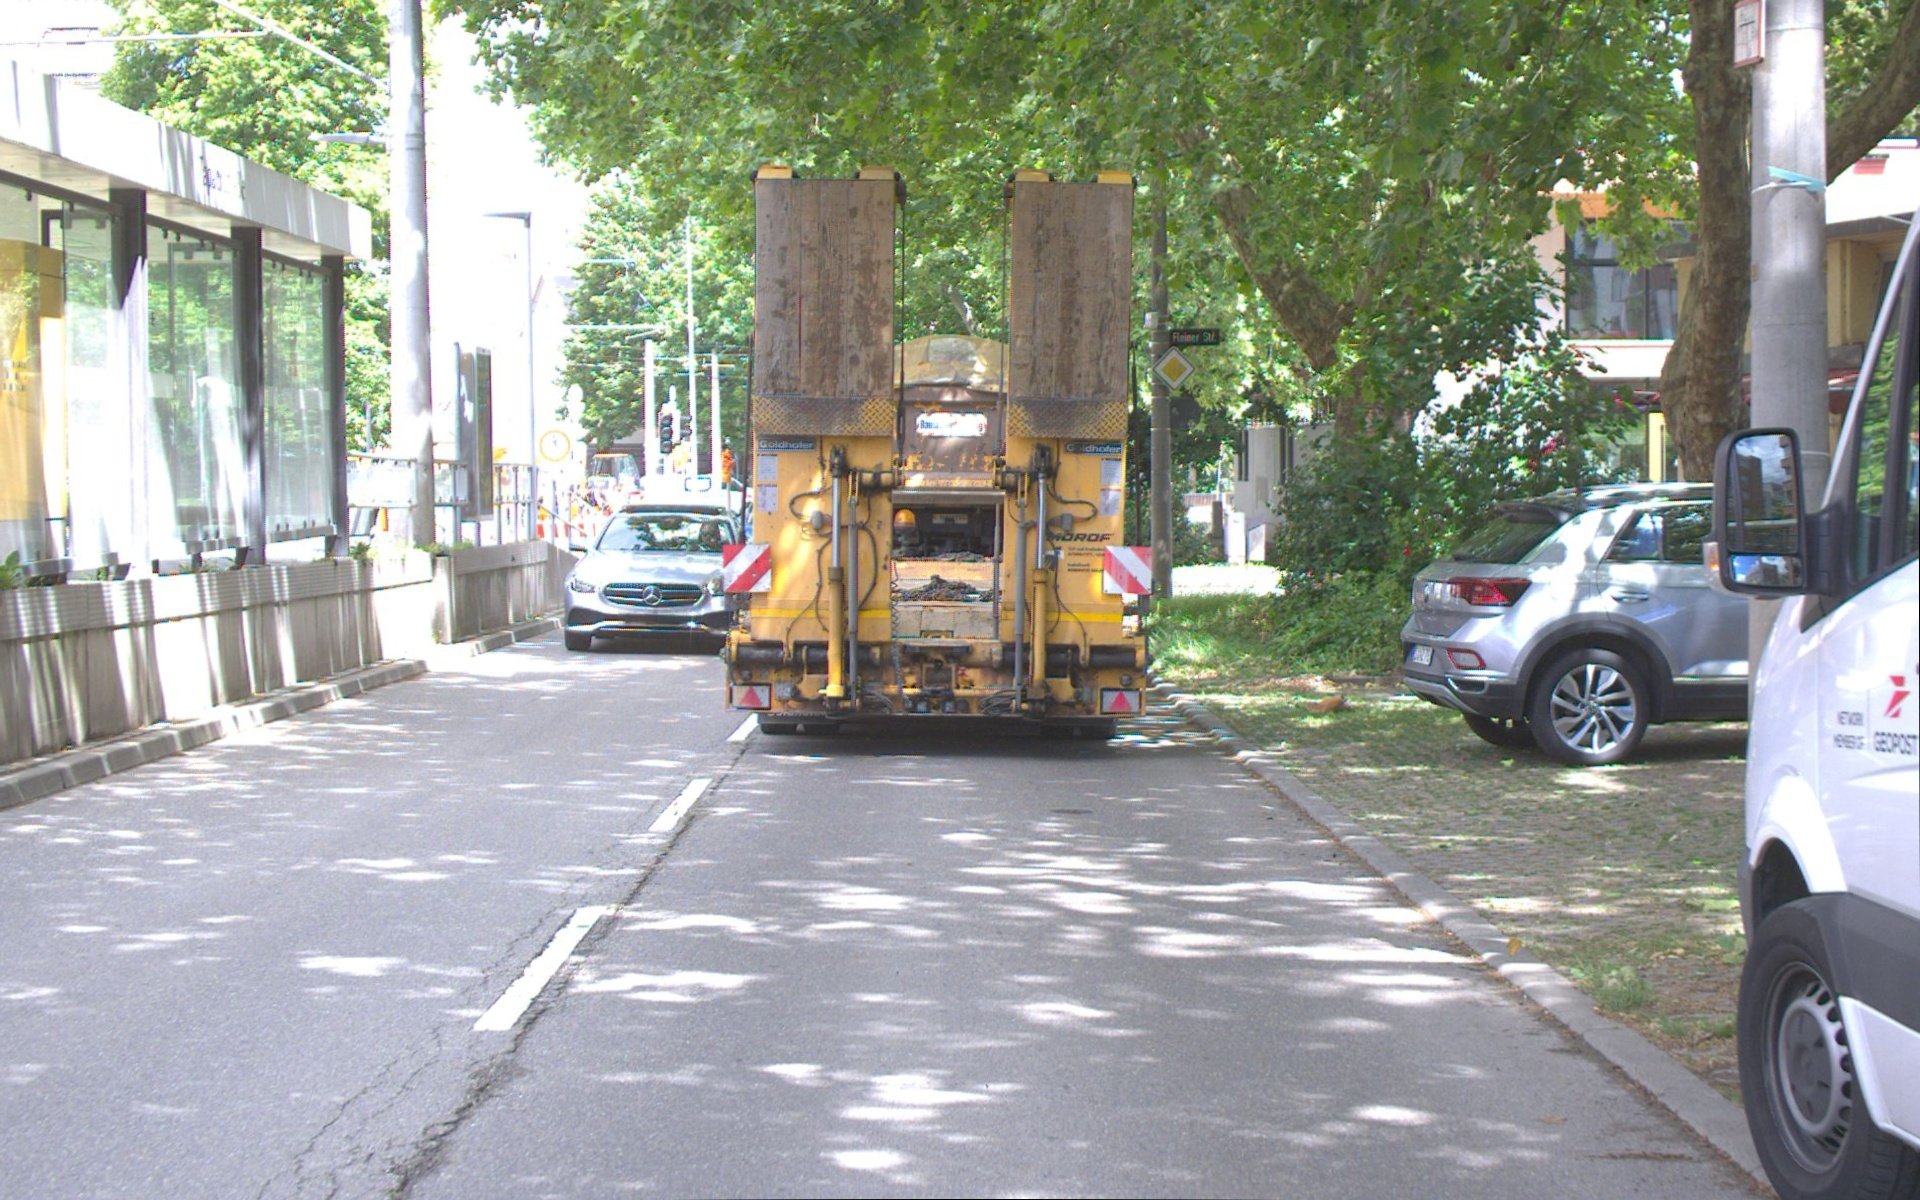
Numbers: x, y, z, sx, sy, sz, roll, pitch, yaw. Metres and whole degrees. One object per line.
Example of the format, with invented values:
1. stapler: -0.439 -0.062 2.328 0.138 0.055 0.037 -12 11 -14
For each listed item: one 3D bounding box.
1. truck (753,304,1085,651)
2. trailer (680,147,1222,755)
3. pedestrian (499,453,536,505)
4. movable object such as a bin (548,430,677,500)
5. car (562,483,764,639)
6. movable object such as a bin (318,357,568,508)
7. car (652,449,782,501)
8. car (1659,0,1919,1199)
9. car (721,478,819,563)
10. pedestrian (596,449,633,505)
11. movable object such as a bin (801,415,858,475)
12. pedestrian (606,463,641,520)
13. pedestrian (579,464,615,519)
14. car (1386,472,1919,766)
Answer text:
1. truck: -0.405 -1.256 35.329 2.989 3.124 7.889 1 2 0
2. trailer: -0.184 -1.067 25.834 3.154 3.540 11.098 1 2 -1
3. pedestrian: -14.368 -3.928 111.559 0.885 1.639 0.900 0 2 -31
4. movable object such as a bin: -13.254 -5.137 131.025 4.373 2.620 2.217 2 2 26
5. car: -3.038 -0.455 35.947 1.762 1.476 4.577 2 2 -1
6. movable object such as a bin: -19.049 -6.148 126.414 9.215 5.395 2.660 2 2 26
7. car: -10.122 -5.207 143.047 5.088 2.094 1.977 0 3 -14
8. car: 2.634 0.069 4.584 1.904 2.572 6.834 -2 2 0
9. car: -3.589 -1.531 65.549 1.696 1.559 3.861 0 1 -1
10. pedestrian: -11.572 -4.129 115.157 0.887 1.860 0.836 2 2 29
11. movable object such as a bin: -4.463 -5.291 117.715 1.399 2.006 2.555 1 2 11
12. pedestrian: -11.034 -3.563 112.693 0.885 1.860 0.837 0 2 -29
13. pedestrian: -11.758 -3.512 111.331 0.886 1.754 0.836 2 2 18
14. car: 4.561 0.061 19.976 3.828 1.556 1.620 -2 2 -7
